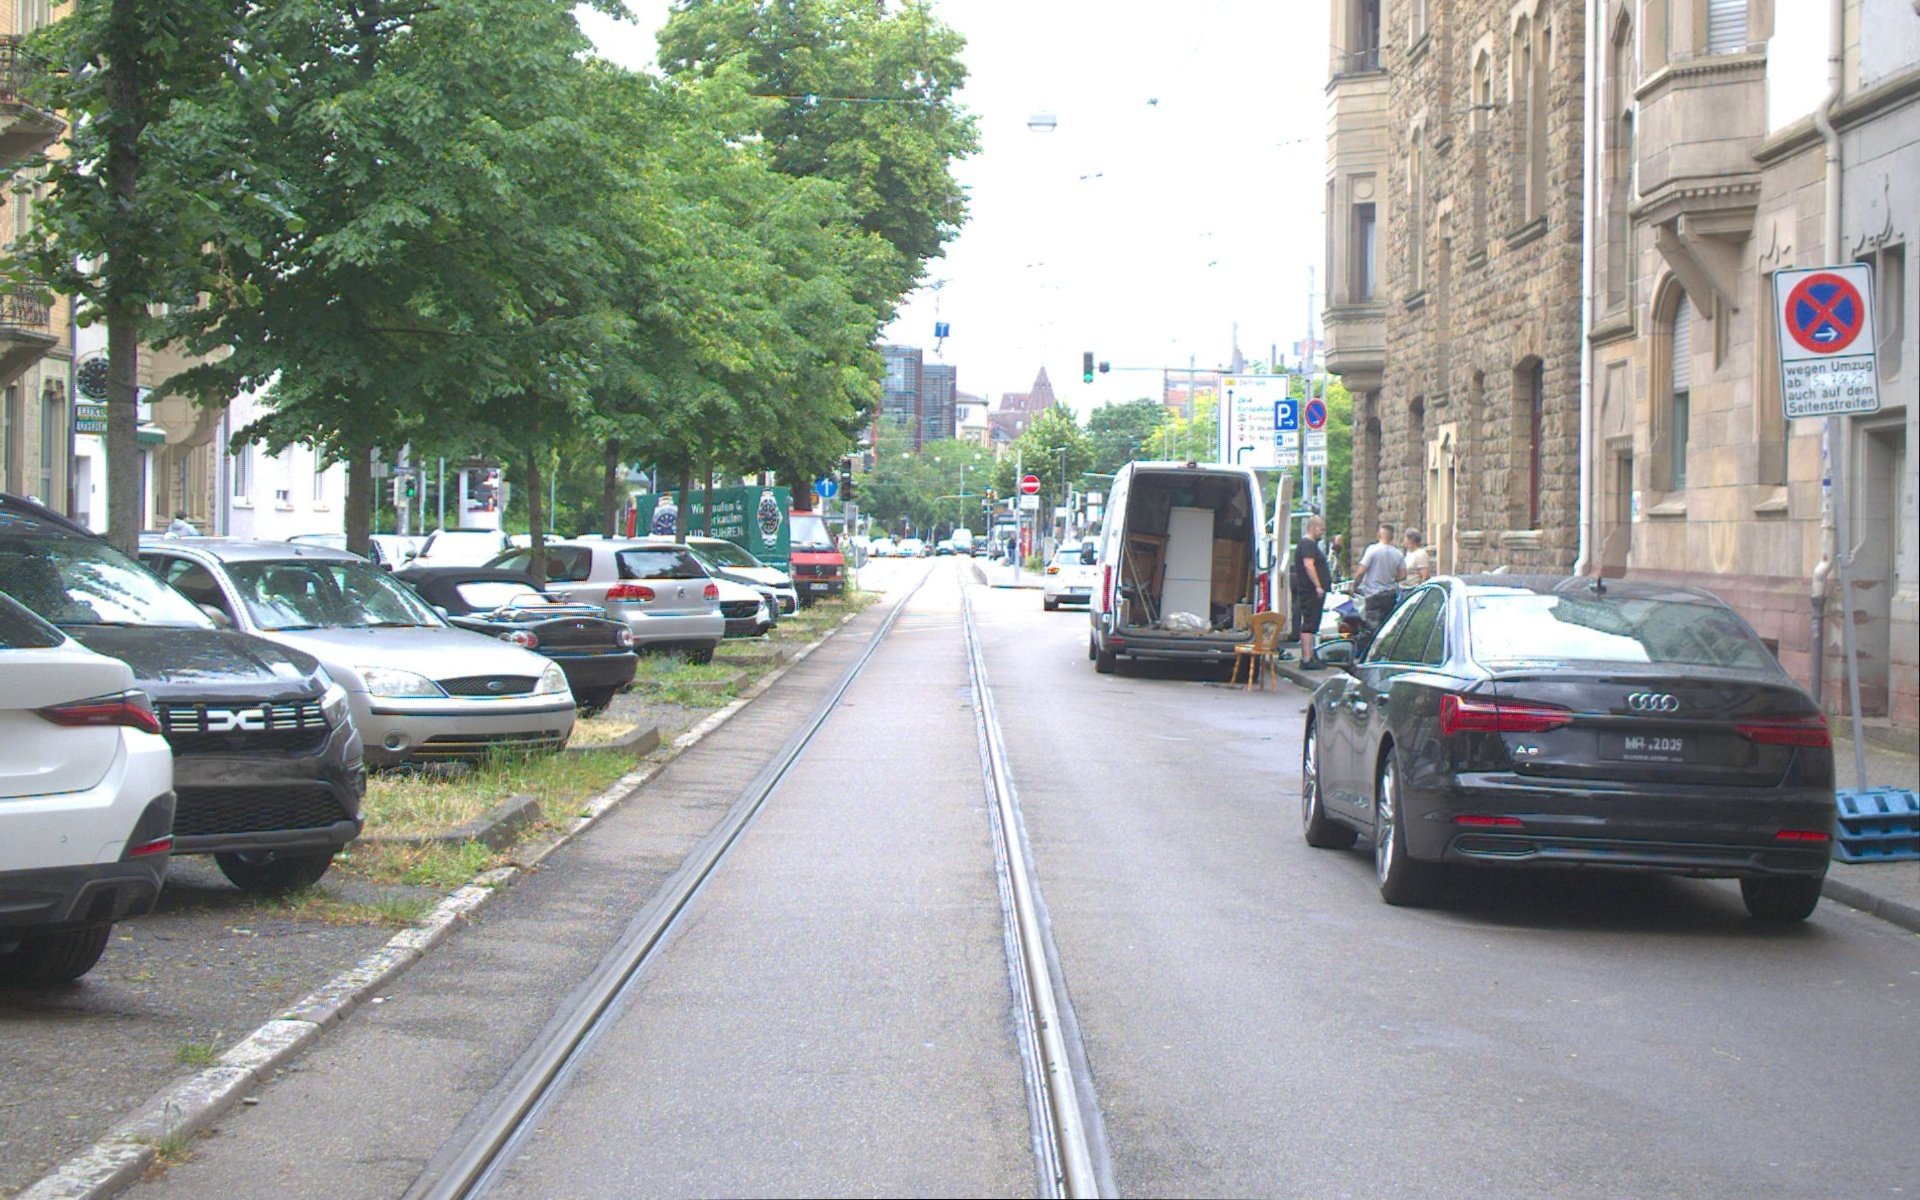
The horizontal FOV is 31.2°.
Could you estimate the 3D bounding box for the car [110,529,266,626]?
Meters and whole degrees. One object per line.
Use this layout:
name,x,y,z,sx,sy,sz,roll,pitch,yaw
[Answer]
car,-12.091,-0.377,54.020,1.634,1.438,3.924,1,1,-2

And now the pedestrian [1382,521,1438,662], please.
pedestrian,5.541,-0.112,42.355,0.507,1.711,0.581,-1,1,-10

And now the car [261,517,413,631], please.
car,-8.666,-0.374,47.968,1.604,1.509,2.893,1,1,-1

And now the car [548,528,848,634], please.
car,-3.853,-0.299,50.161,4.337,1.430,1.894,2,2,42

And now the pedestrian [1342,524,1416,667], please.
pedestrian,5.063,-0.061,41.527,0.702,1.694,0.493,-2,1,-27

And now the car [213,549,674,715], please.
car,-4.308,0.228,28.334,3.960,1.198,1.664,2,1,44

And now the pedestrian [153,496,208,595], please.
pedestrian,-14.134,-0.990,62.373,0.797,1.760,0.900,1,1,-1

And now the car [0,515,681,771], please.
car,-3.973,0.202,21.333,4.665,1.363,1.753,2,1,43

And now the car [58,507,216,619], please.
car,-11.970,-0.556,50.133,1.634,1.545,2.951,1,1,-1

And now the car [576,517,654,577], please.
car,-8.955,-1.363,89.458,1.644,1.499,3.884,1,1,-1

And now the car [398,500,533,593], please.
car,-8.873,-0.957,62.000,1.805,1.573,4.547,1,1,-1

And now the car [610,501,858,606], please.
car,-4.472,-0.926,67.551,4.763,1.967,1.955,2,1,39

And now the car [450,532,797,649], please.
car,-4.585,-0.155,46.461,4.684,1.430,1.894,2,1,40

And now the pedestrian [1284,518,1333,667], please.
pedestrian,4.282,-0.098,42.275,0.499,1.809,0.803,-1,1,1

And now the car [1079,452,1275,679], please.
car,2.643,-0.470,43.468,2.013,2.540,7.016,3,1,1

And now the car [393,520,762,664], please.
car,-4.344,-0.118,38.707,4.114,1.479,1.793,2,1,41

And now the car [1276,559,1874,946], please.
car,2.668,0.573,16.177,1.801,1.433,5.196,1,1,-1

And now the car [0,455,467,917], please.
car,-4.167,0.257,14.321,4.530,1.627,1.761,2,1,44

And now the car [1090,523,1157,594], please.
car,4.666,-1.201,98.395,1.782,1.956,4.382,1,1,2

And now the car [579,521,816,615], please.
car,-4.343,-0.543,56.585,3.860,1.458,1.685,2,1,42

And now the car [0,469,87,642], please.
car,-11.731,-0.537,39.979,1.881,1.945,5.094,1,1,-1

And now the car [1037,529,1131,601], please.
car,2.687,-0.773,73.972,1.783,1.467,4.009,1,1,5

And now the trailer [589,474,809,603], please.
trailer,-4.909,-1.168,64.553,3.666,2.336,1.927,2,1,33

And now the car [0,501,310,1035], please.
car,-4.288,0.415,11.134,4.539,1.485,2.030,2,1,44
